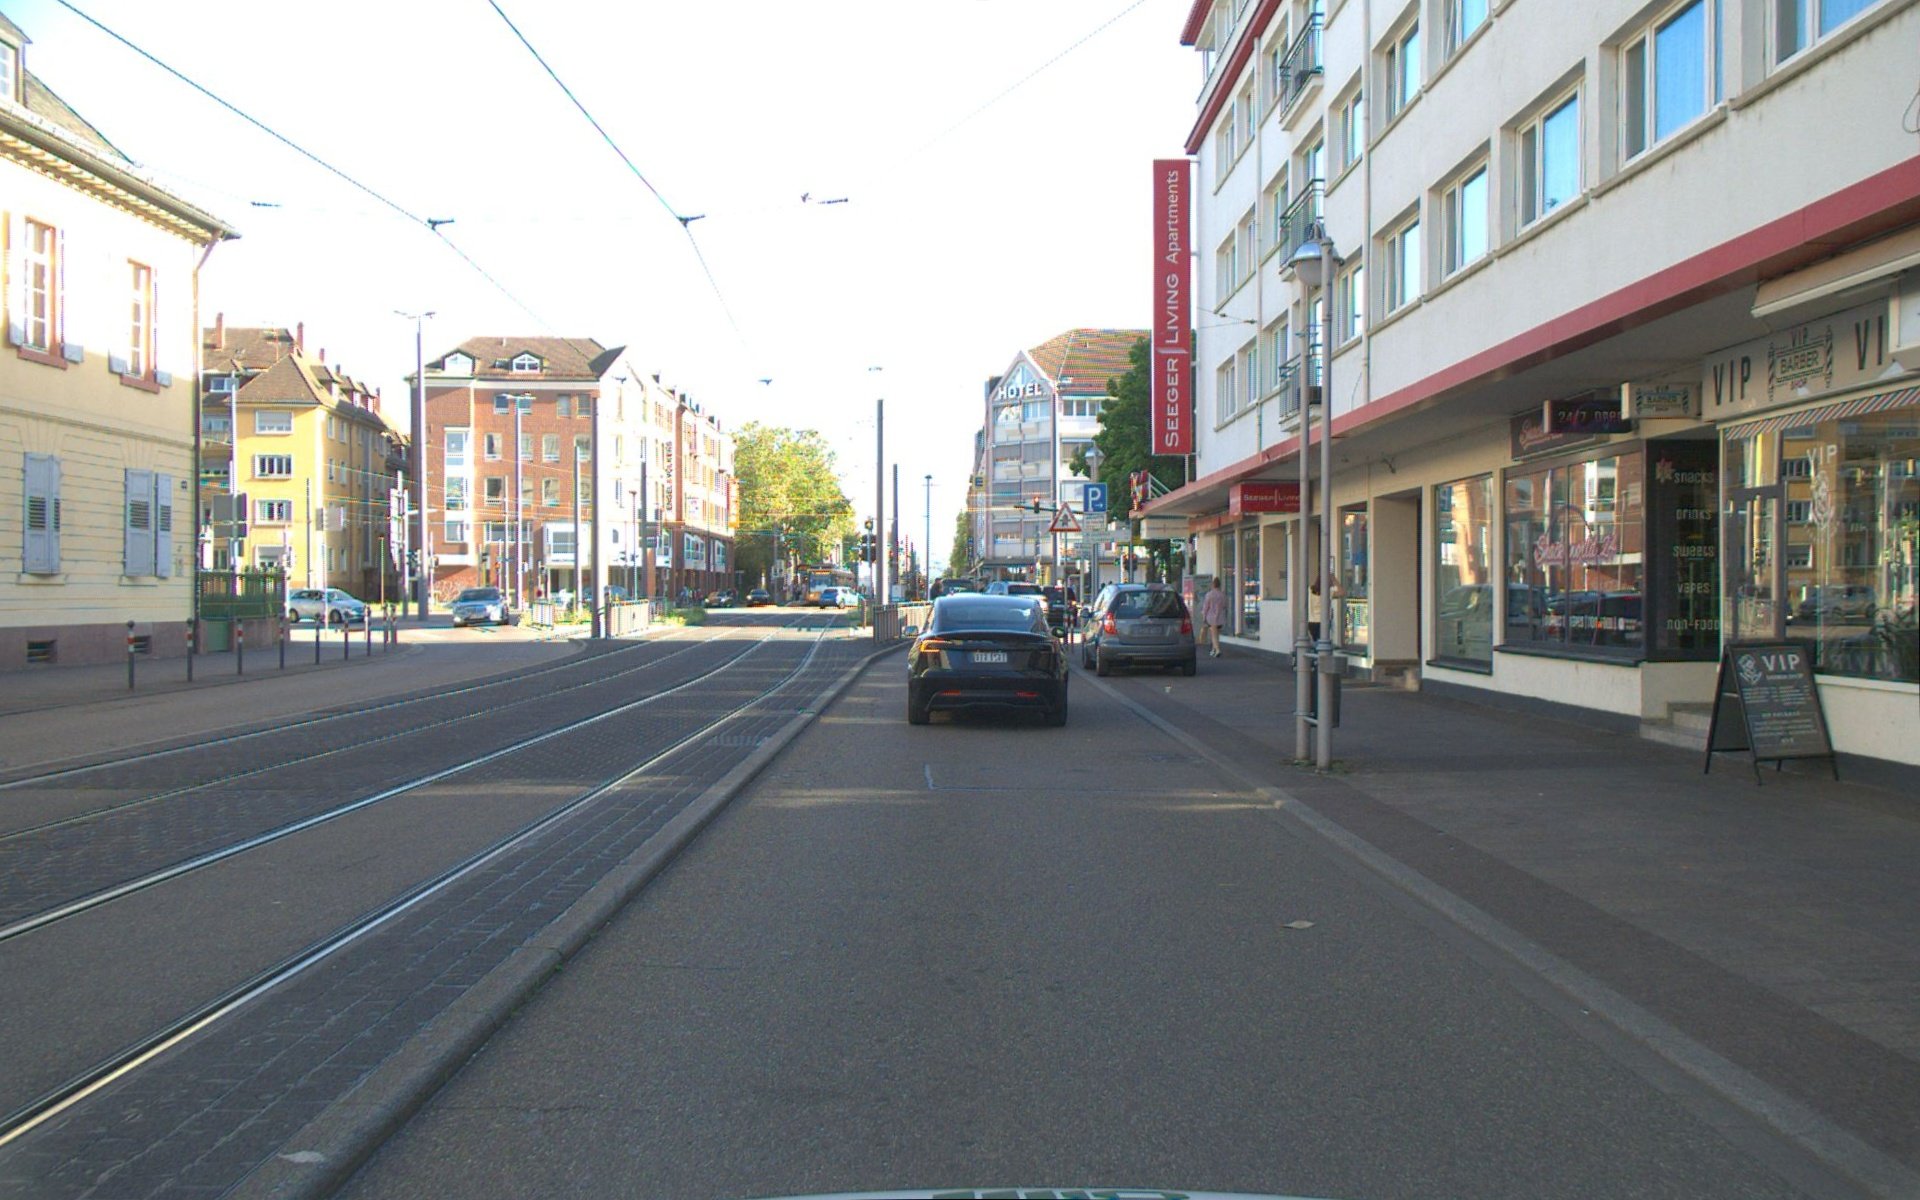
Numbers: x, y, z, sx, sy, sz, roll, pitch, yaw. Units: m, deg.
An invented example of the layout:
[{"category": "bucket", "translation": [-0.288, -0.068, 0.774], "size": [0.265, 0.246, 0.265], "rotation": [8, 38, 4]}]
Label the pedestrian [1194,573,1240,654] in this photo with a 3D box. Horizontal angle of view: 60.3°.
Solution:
[{"category": "pedestrian", "translation": [5.546, 0.291, 35.679], "size": [0.800, 1.712, 0.714], "rotation": [2, 0, 23]}]

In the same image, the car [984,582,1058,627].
[{"category": "car", "translation": [2.156, 0.152, 59.957], "size": [1.751, 1.545, 4.207], "rotation": [2, 0, -11]}]

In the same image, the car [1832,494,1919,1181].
[{"category": "car", "translation": [3.373, 0.581, 1.977], "size": [1.812, 1.754, 5.192], "rotation": [-2, 0, -1]}]

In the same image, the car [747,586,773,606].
[{"category": "car", "translation": [-17.237, -0.340, 142.677], "size": [1.715, 1.680, 4.000], "rotation": [2, 0, 0]}]

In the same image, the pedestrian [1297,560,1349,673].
[{"category": "pedestrian", "translation": [5.926, 0.261, 26.981], "size": [0.786, 1.805, 0.933], "rotation": [0, 0, 14]}]

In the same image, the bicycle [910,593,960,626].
[{"category": "bicycle", "translation": [-0.883, 0.345, 58.528], "size": [1.696, 1.107, 0.677], "rotation": [2, 0, -8]}]

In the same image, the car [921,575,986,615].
[{"category": "car", "translation": [-0.318, -0.207, 68.804], "size": [1.793, 1.545, 4.204], "rotation": [2, 0, -13]}]

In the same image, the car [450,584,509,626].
[{"category": "car", "translation": [-18.371, 0.193, 63.367], "size": [1.848, 1.522, 4.914], "rotation": [-1, 0, -13]}]

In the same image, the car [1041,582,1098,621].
[{"category": "car", "translation": [4.534, 0.045, 69.207], "size": [1.789, 1.545, 3.645], "rotation": [2, 0, -5]}]

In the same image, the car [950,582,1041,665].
[{"category": "car", "translation": [0.667, 0.406, 32.170], "size": [1.619, 1.443, 4.000], "rotation": [2, 1, 0]}]

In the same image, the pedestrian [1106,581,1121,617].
[{"category": "pedestrian", "translation": [6.975, -0.056, 75.297], "size": [0.616, 1.642, 0.643], "rotation": [1, 0, 3]}]

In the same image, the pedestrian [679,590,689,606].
[{"category": "pedestrian", "translation": [-22.514, -0.161, 134.997], "size": [0.682, 1.331, 0.564], "rotation": [-1, 0, -1]}]

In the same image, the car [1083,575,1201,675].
[{"category": "car", "translation": [3.236, 0.400, 29.934], "size": [1.709, 1.660, 3.649], "rotation": [-1, 1, 0]}]

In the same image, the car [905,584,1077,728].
[{"category": "car", "translation": [0.288, 0.604, 19.639], "size": [1.811, 1.510, 3.786], "rotation": [1, 0, -2]}]

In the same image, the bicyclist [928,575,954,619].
[{"category": "bicyclist", "translation": [-0.682, -0.122, 58.575], "size": [0.820, 1.526, 0.559], "rotation": [2, 0, -8]}]

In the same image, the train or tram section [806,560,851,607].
[{"category": "train or tram section", "translation": [-11.187, -1.336, 142.414], "size": [2.619, 3.780, 14.192], "rotation": [2, 0, 0]}]

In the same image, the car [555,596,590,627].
[{"category": "car", "translation": [-19.913, 0.559, 84.998], "size": [1.734, 1.538, 4.265], "rotation": [0, 0, -13]}]

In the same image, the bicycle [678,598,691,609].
[{"category": "bicycle", "translation": [-22.509, 0.256, 135.103], "size": [0.688, 0.869, 2.053], "rotation": [-1, 0, 0]}]

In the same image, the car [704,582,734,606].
[{"category": "car", "translation": [-20.373, -0.526, 139.810], "size": [1.953, 2.049, 4.000], "rotation": [0, 0, 0]}]

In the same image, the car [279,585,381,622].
[{"category": "car", "translation": [-29.599, 0.168, 77.682], "size": [4.501, 1.583, 1.815], "rotation": [2, 0, 24]}]

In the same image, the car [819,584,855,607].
[{"category": "car", "translation": [-8.419, -0.292, 113.346], "size": [1.952, 1.445, 4.001], "rotation": [2, 0, 3]}]
